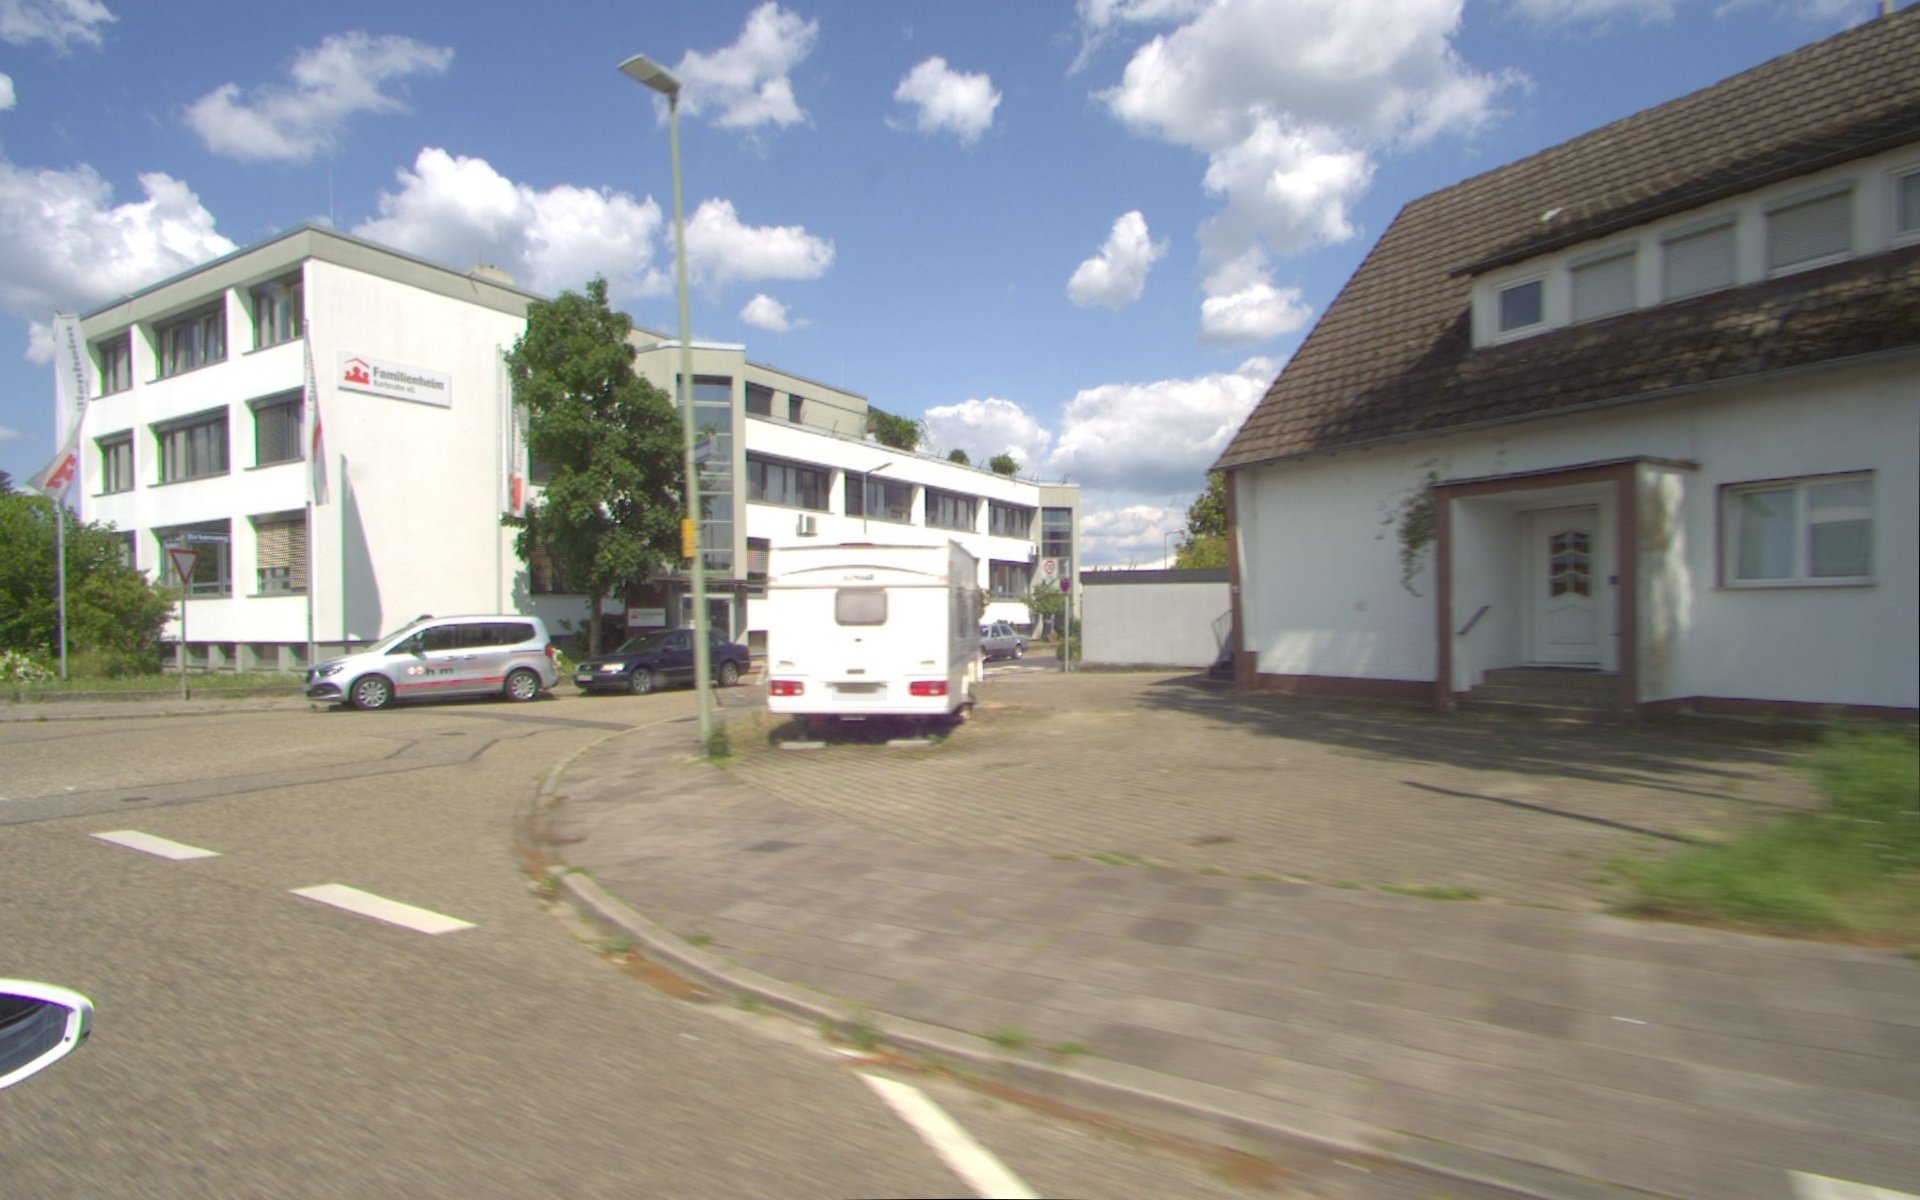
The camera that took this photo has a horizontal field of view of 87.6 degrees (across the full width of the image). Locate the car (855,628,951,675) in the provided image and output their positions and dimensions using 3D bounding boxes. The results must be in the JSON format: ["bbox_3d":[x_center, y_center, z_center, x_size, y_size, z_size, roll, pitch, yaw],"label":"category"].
[{"bbox_3d":[-1.818,1.633,32.704,1.593,1.416,3.350,-1,-1,29],"label":"car"}]

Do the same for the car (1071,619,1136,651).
[{"bbox_3d":[6.761,1.606,46.819,1.593,1.416,4.237,-1,-1,29],"label":"car"}]

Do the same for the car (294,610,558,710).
[{"bbox_3d":[-10.621,1.158,20.090,4.361,1.774,1.850,0,-3,-41],"label":"car"}]

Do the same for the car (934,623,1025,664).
[{"bbox_3d":[0.808,1.571,37.327,1.593,1.416,4.237,-1,-1,29],"label":"car"}]

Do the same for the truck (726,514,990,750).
[{"bbox_3d":[-1.068,0.367,14.226,2.517,2.611,6.058,0,0,6],"label":"truck"}]

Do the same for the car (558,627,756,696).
[{"bbox_3d":[-7.065,1.388,23.854,1.733,1.446,4.607,-1,-1,30],"label":"car"}]
